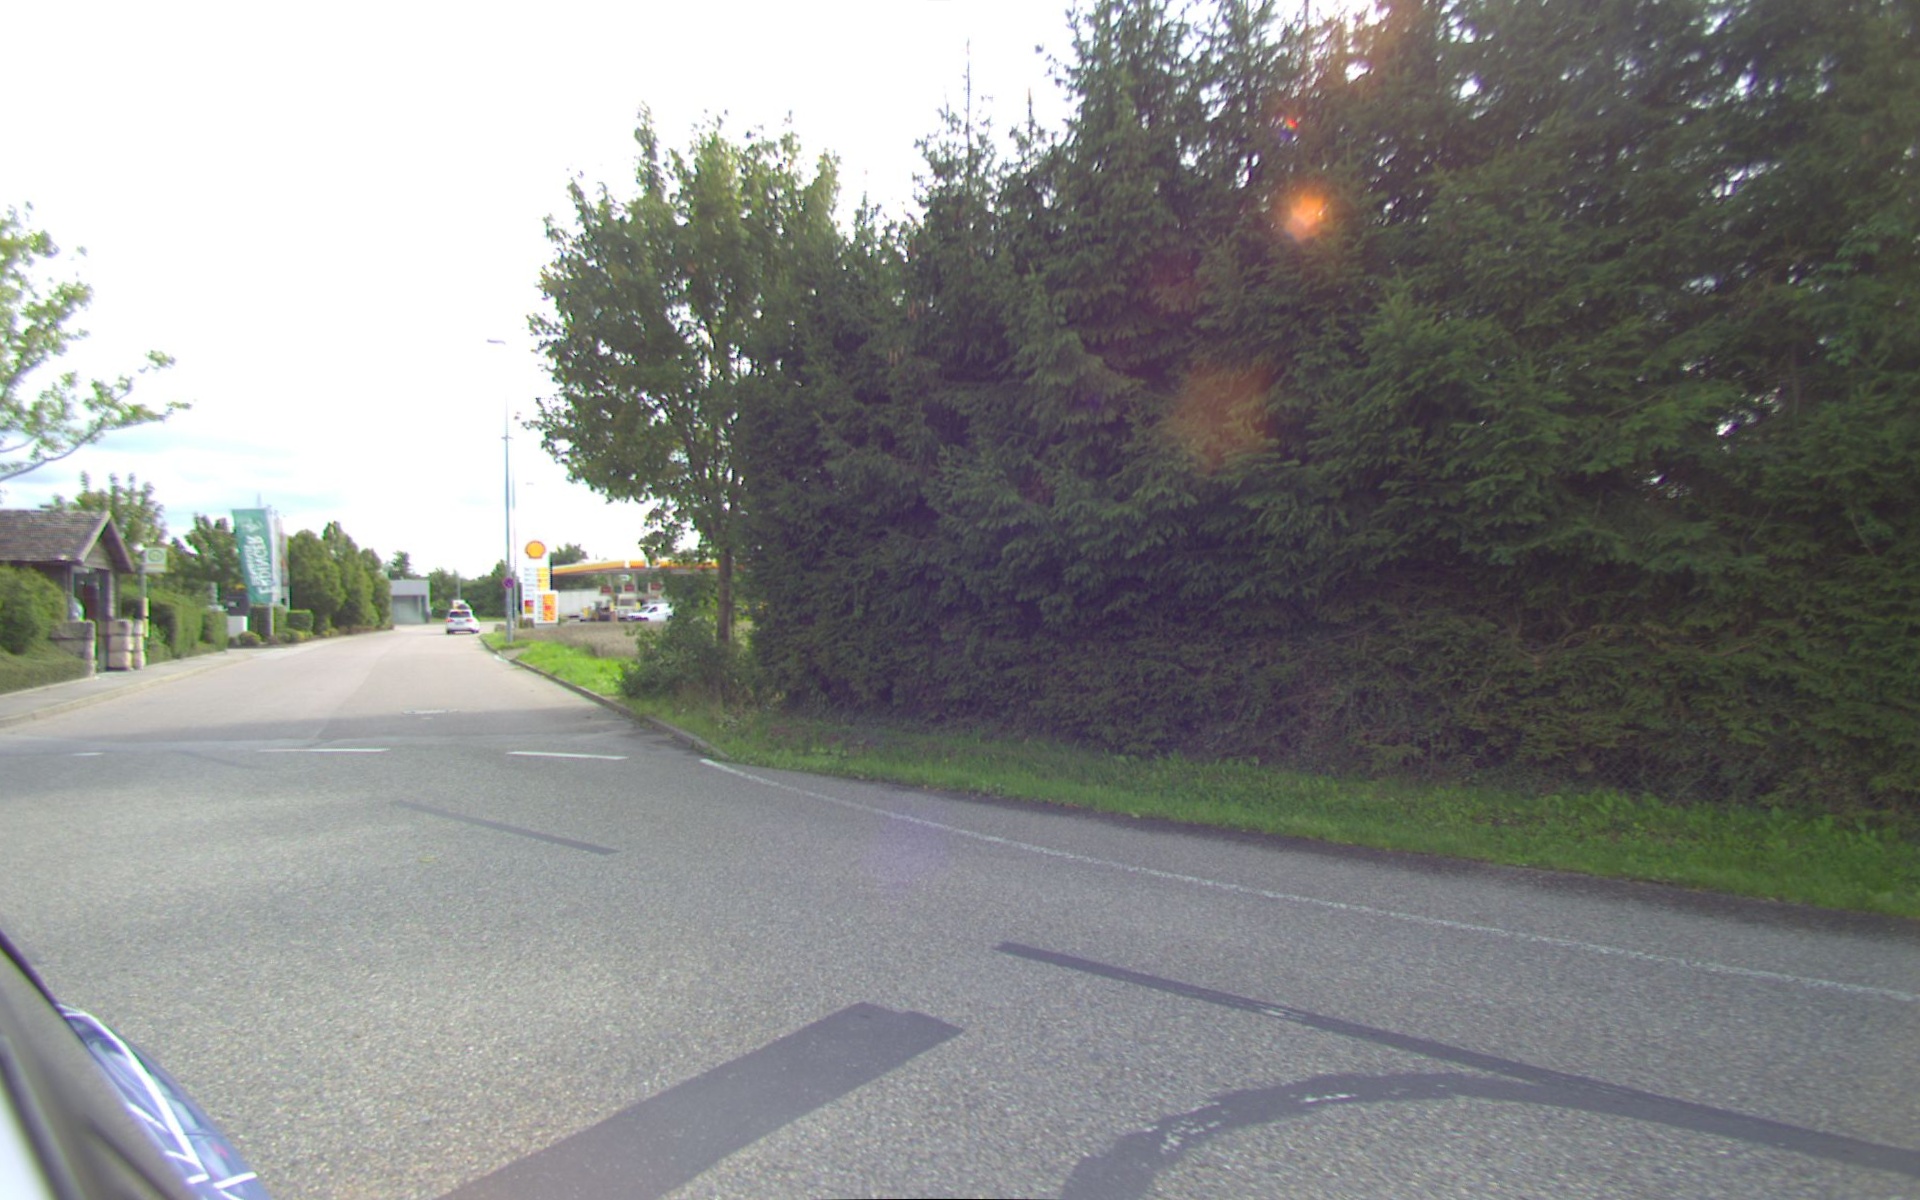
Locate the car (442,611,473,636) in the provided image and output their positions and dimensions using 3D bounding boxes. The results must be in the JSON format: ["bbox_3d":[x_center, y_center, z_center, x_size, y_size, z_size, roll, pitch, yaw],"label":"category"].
[{"bbox_3d":[-34.069,1.565,68.534,1.675,1.678,4.045,1,-1,-29],"label":"car"}]

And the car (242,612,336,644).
[{"bbox_3d":[-38.956,1.612,58.847,4.288,1.729,1.662,-1,-1,-19],"label":"car"}]

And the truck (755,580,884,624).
[{"bbox_3d":[-13.075,0.106,95.873,2.754,3.953,13.064,0,1,45],"label":"truck"}]

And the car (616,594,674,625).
[{"bbox_3d":[-29.912,0.922,96.203,2.208,2.808,5.768,-1,-1,21],"label":"car"}]
